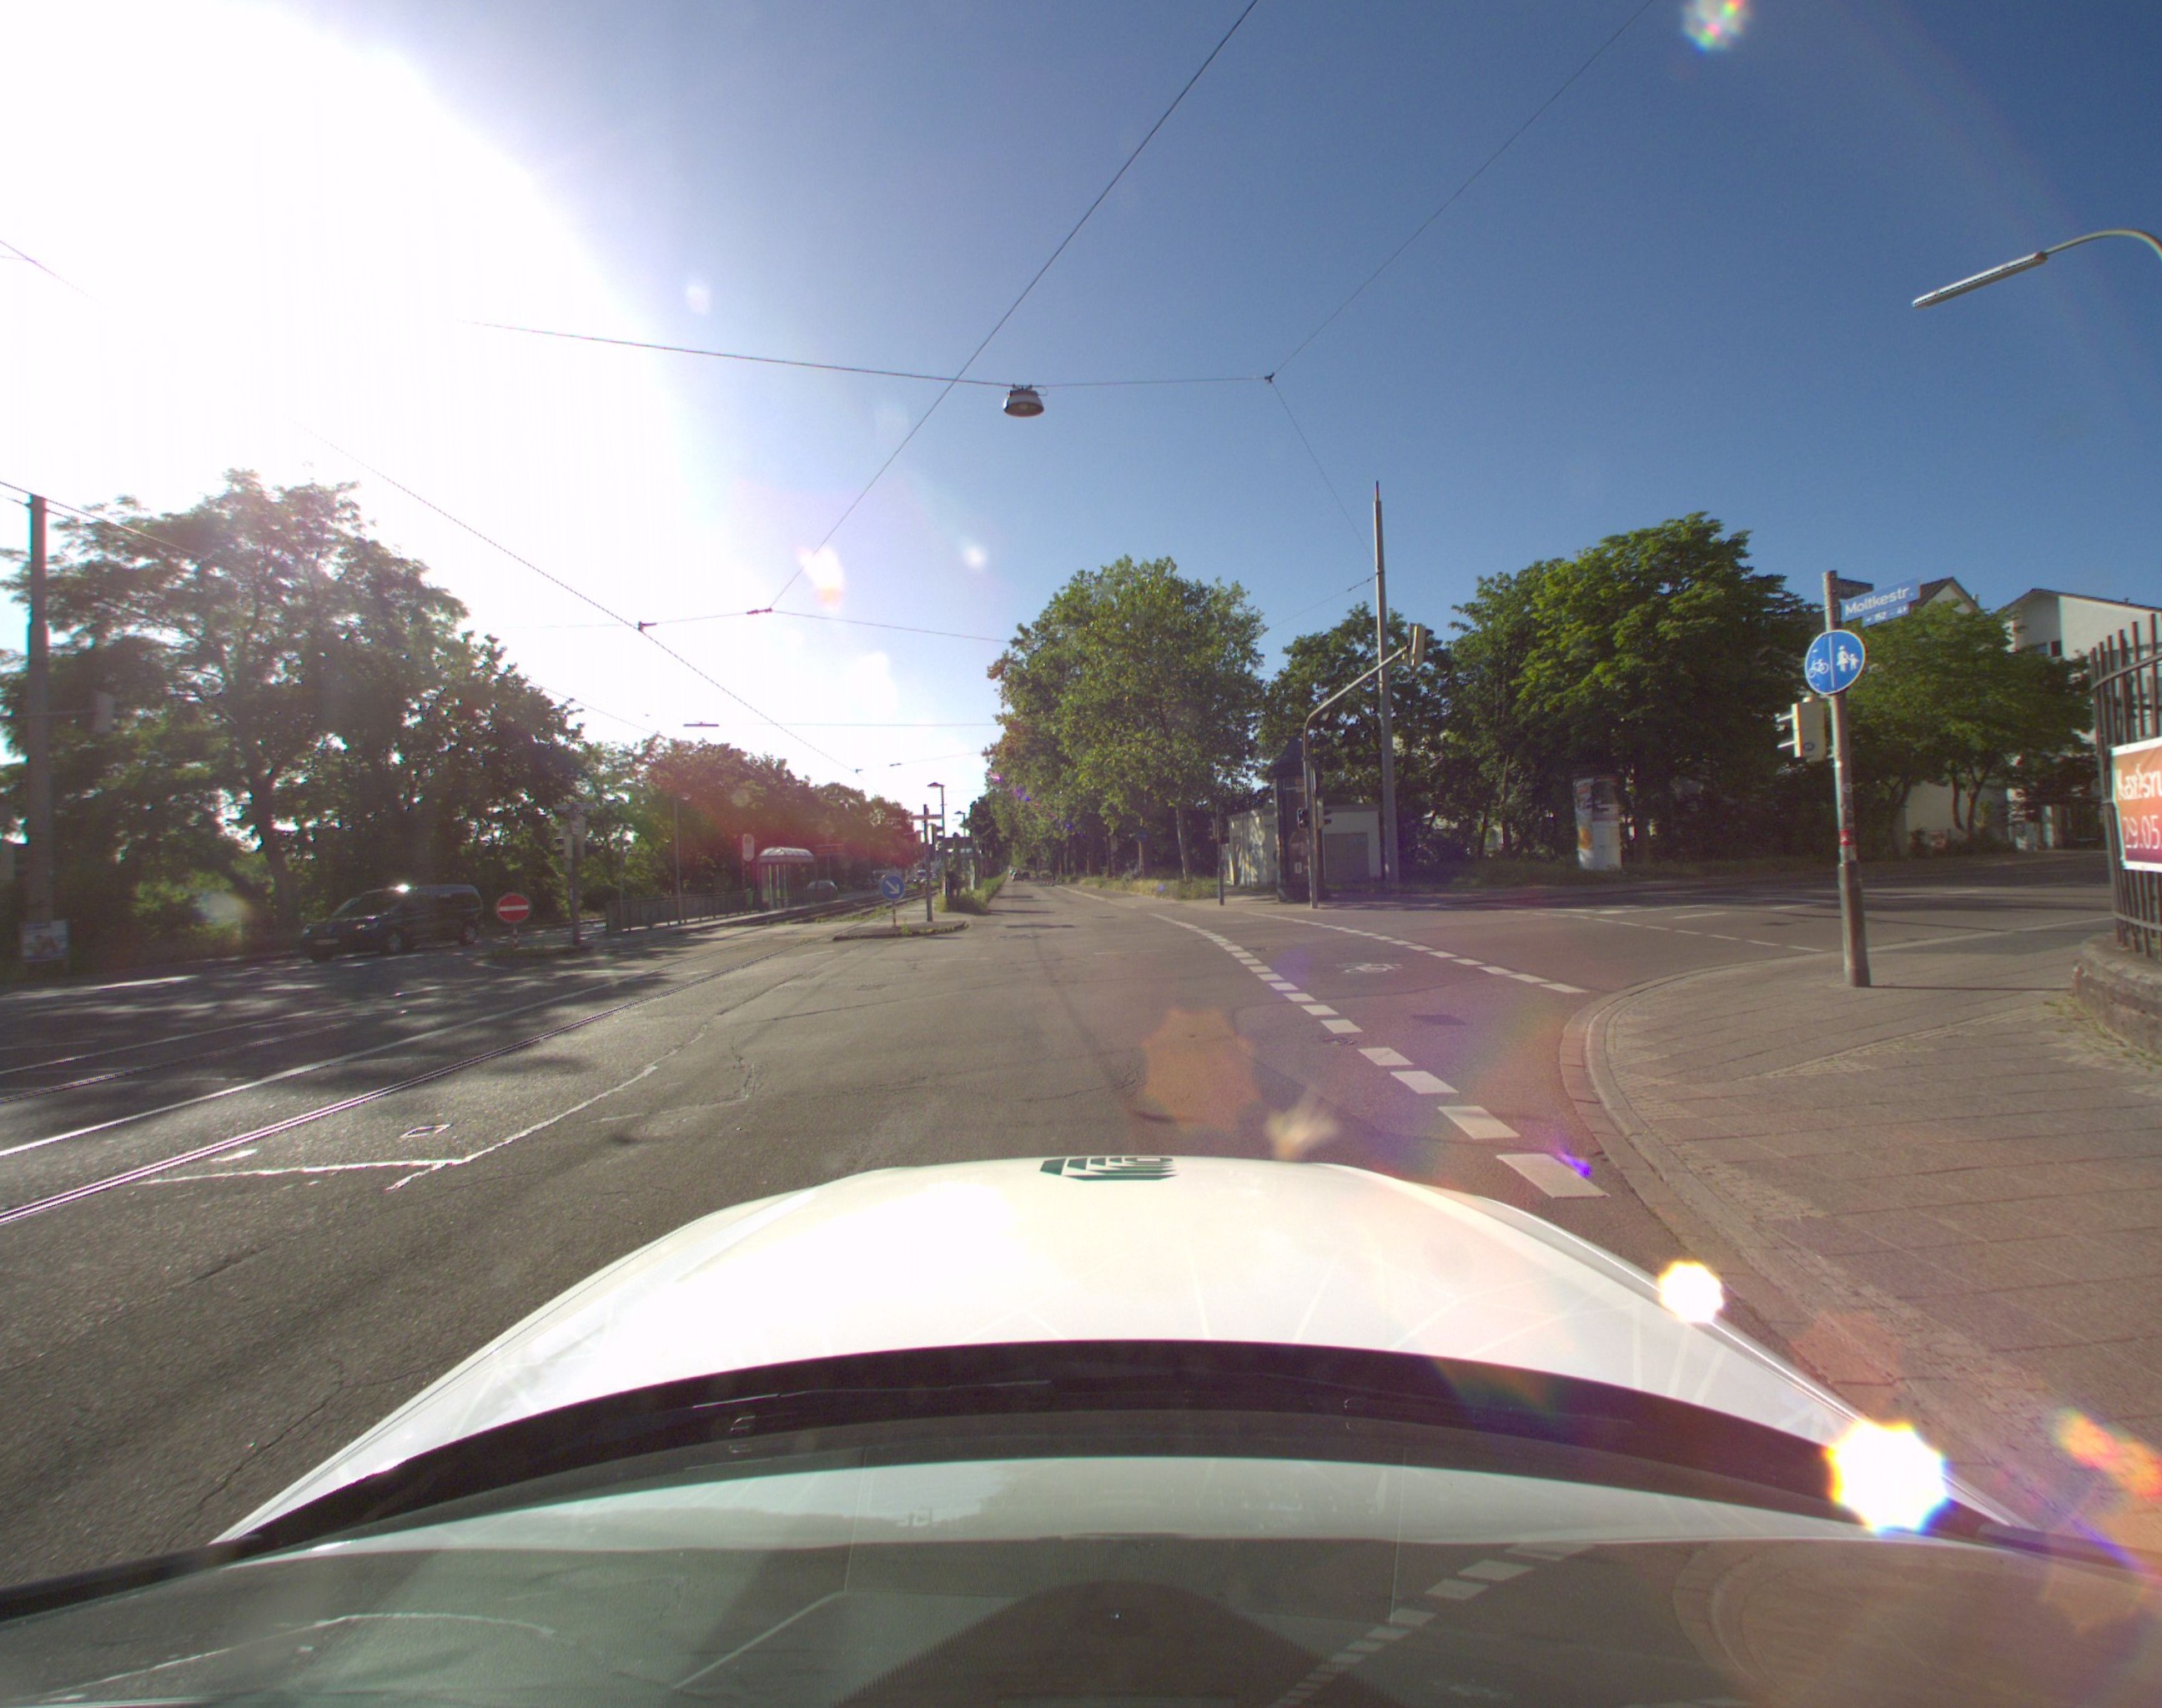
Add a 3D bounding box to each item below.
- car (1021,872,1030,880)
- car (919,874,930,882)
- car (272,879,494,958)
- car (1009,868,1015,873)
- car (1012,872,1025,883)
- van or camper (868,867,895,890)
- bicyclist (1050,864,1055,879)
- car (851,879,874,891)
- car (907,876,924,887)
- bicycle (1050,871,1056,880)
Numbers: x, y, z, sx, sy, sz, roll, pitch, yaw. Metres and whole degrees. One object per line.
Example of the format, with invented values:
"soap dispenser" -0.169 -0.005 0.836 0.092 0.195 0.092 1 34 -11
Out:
"car" -10.575 4.173 155.141 1.747 1.604 3.743 -2 -1 -5
"car" -33.237 5.057 172.558 1.741 1.496 3.587 -3 -1 -4
"car" -18.488 1.627 21.982 1.991 1.767 5.020 -3 -2 -6
"car" -20.968 4.988 248.810 1.748 1.604 3.573 -3 -1 -6
"car" -9.518 3.578 123.385 1.864 1.486 3.549 -2 -1 -5
"van or camper" -28.486 3.485 116.736 2.585 3.106 6.775 -3 -1 -5
"bicyclist" -3.533 2.191 101.329 0.533 1.770 0.711 -3 -1 -7
"car" -27.914 3.941 104.086 1.917 1.266 3.995 -3 -1 -3
"car" -23.803 3.876 117.248 1.991 1.469 4.366 -2 -1 -6
"bicycle" -3.494 2.688 101.301 0.535 1.066 1.430 -3 -1 -7
